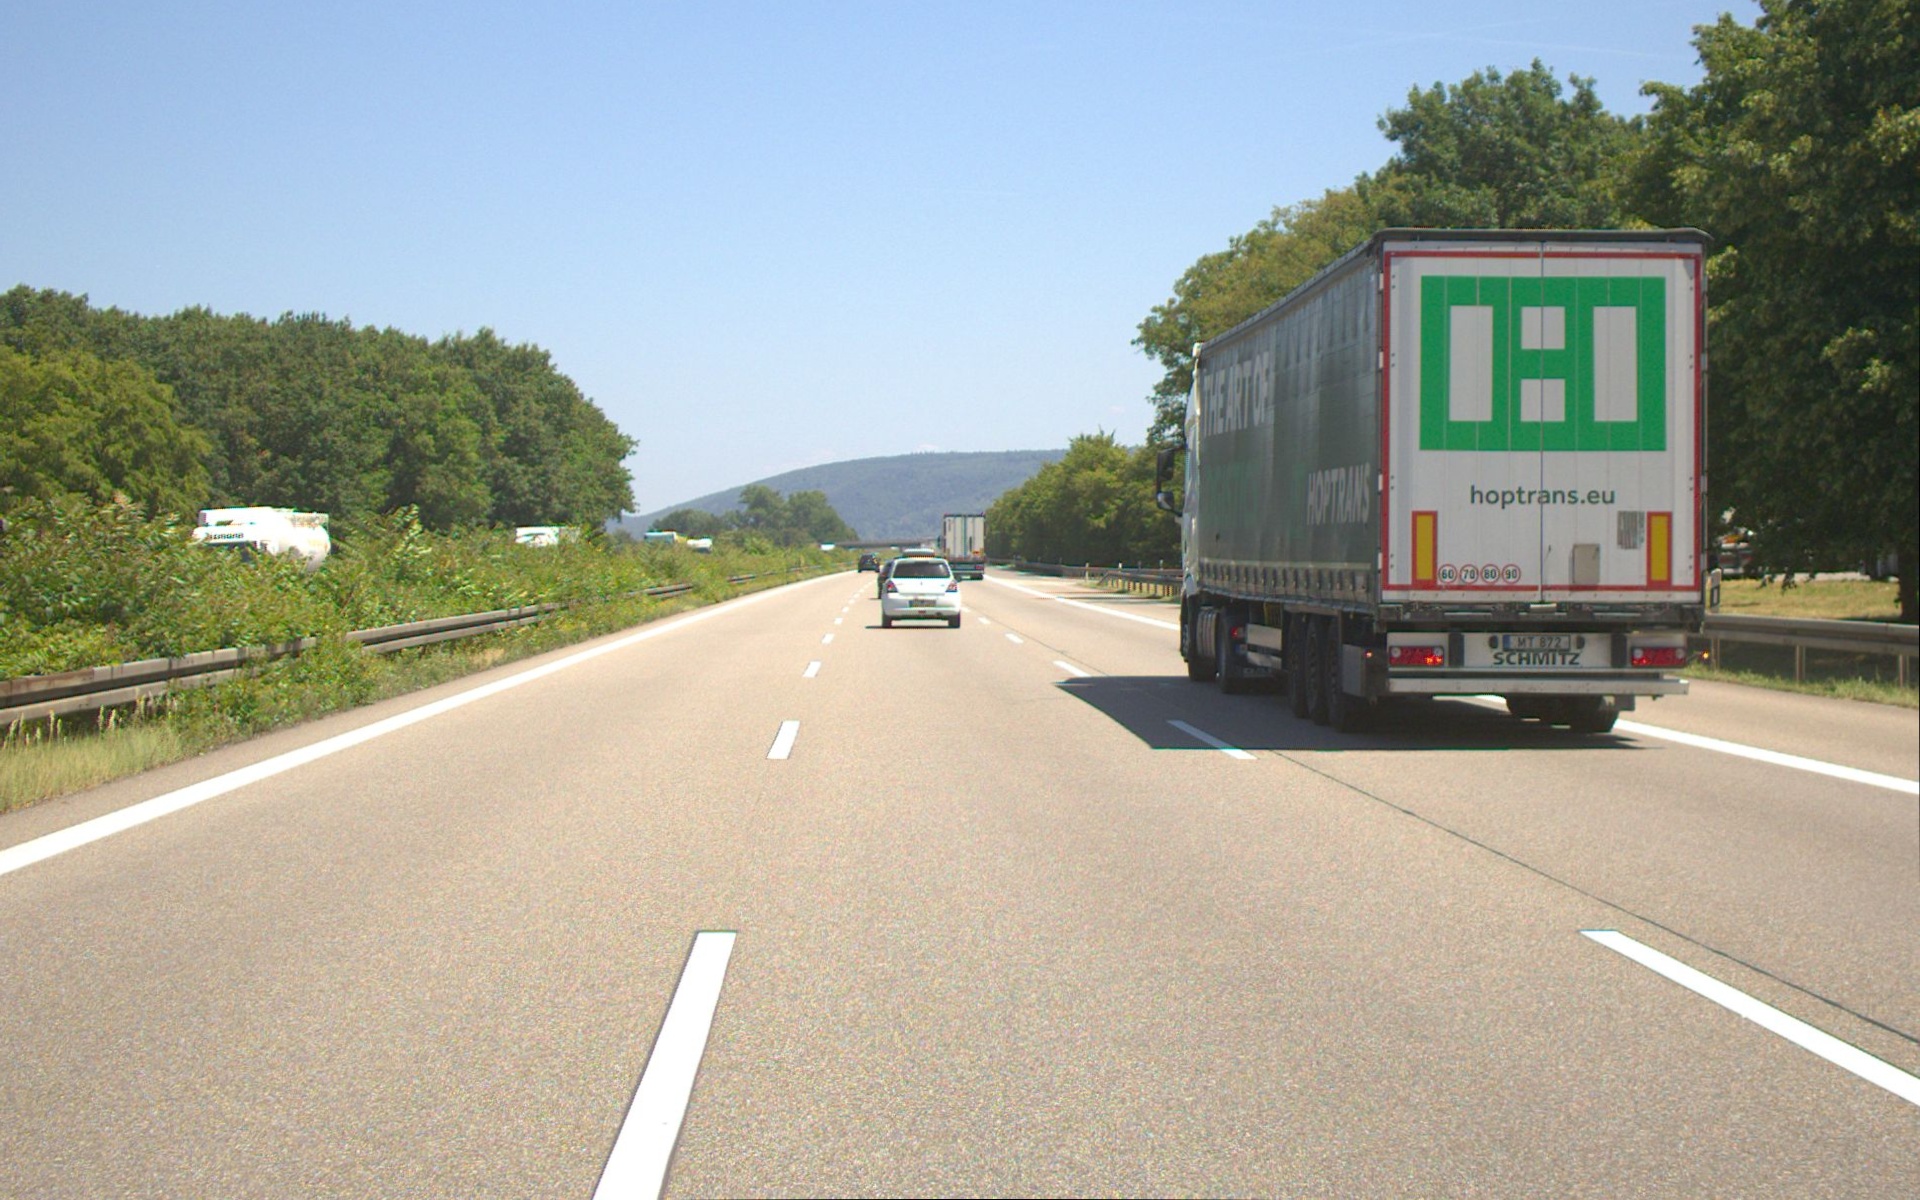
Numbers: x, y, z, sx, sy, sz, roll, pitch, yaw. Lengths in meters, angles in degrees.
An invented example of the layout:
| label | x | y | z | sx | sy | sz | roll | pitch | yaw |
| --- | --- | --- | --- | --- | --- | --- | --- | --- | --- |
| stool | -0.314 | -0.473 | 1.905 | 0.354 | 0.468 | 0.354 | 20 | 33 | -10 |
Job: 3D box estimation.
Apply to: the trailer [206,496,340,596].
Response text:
| label | x | y | z | sx | sy | sz | roll | pitch | yaw |
| --- | --- | --- | --- | --- | --- | --- | --- | --- | --- |
| trailer | -22.115 | -1.751 | 111.228 | 2.371 | 3.080 | 10.649 | 0 | 1 | -1 |

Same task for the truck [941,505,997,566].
| label | x | y | z | sx | sy | sz | roll | pitch | yaw |
| --- | --- | --- | --- | --- | --- | --- | --- | --- | --- |
| truck | 0.544 | -4.107 | 218.386 | 3.325 | 3.744 | 12.796 | 0 | 1 | -1 |

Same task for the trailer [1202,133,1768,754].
| label | x | y | z | sx | sy | sz | roll | pitch | yaw |
| --- | --- | --- | --- | --- | --- | --- | --- | --- | --- |
| trailer | 4.370 | -1.273 | 31.831 | 3.181 | 4.611 | 12.051 | -1 | 1 | -1 |

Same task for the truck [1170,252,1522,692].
| label | x | y | z | sx | sy | sz | roll | pitch | yaw |
| --- | --- | --- | --- | --- | --- | --- | --- | --- | --- |
| truck | 4.249 | -1.394 | 39.187 | 3.182 | 4.591 | 5.948 | -1 | 1 | -1 |

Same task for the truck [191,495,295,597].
| label | x | y | z | sx | sy | sz | roll | pitch | yaw |
| --- | --- | --- | --- | --- | --- | --- | --- | --- | --- |
| truck | -22.029 | -1.669 | 105.841 | 2.346 | 3.068 | 4.397 | 0 | 1 | -1 |

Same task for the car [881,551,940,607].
| label | x | y | z | sx | sy | sz | roll | pitch | yaw |
| --- | --- | --- | --- | --- | --- | --- | --- | --- | --- |
| car | -1.755 | -0.761 | 122.707 | 1.897 | 1.886 | 4.000 | -2 | 1 | 2 |

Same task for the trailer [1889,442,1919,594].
| label | x | y | z | sx | sy | sz | roll | pitch | yaw |
| --- | --- | --- | --- | --- | --- | --- | --- | --- | --- |
| trailer | 26.699 | -2.091 | 84.356 | 3.135 | 3.939 | 14.199 | -2 | 1 | -3 |

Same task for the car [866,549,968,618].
| label | x | y | z | sx | sy | sz | roll | pitch | yaw |
| --- | --- | --- | --- | --- | --- | --- | --- | --- | --- |
| car | -0.958 | -0.376 | 74.780 | 1.811 | 1.400 | 3.318 | -1 | 1 | -8 |

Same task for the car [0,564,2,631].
| label | x | y | z | sx | sy | sz | roll | pitch | yaw |
| --- | --- | --- | --- | --- | --- | --- | --- | --- | --- |
| car | -21.522 | 0.002 | 72.048 | 1.841 | 1.460 | 4.272 | -1 | 1 | -3 |
